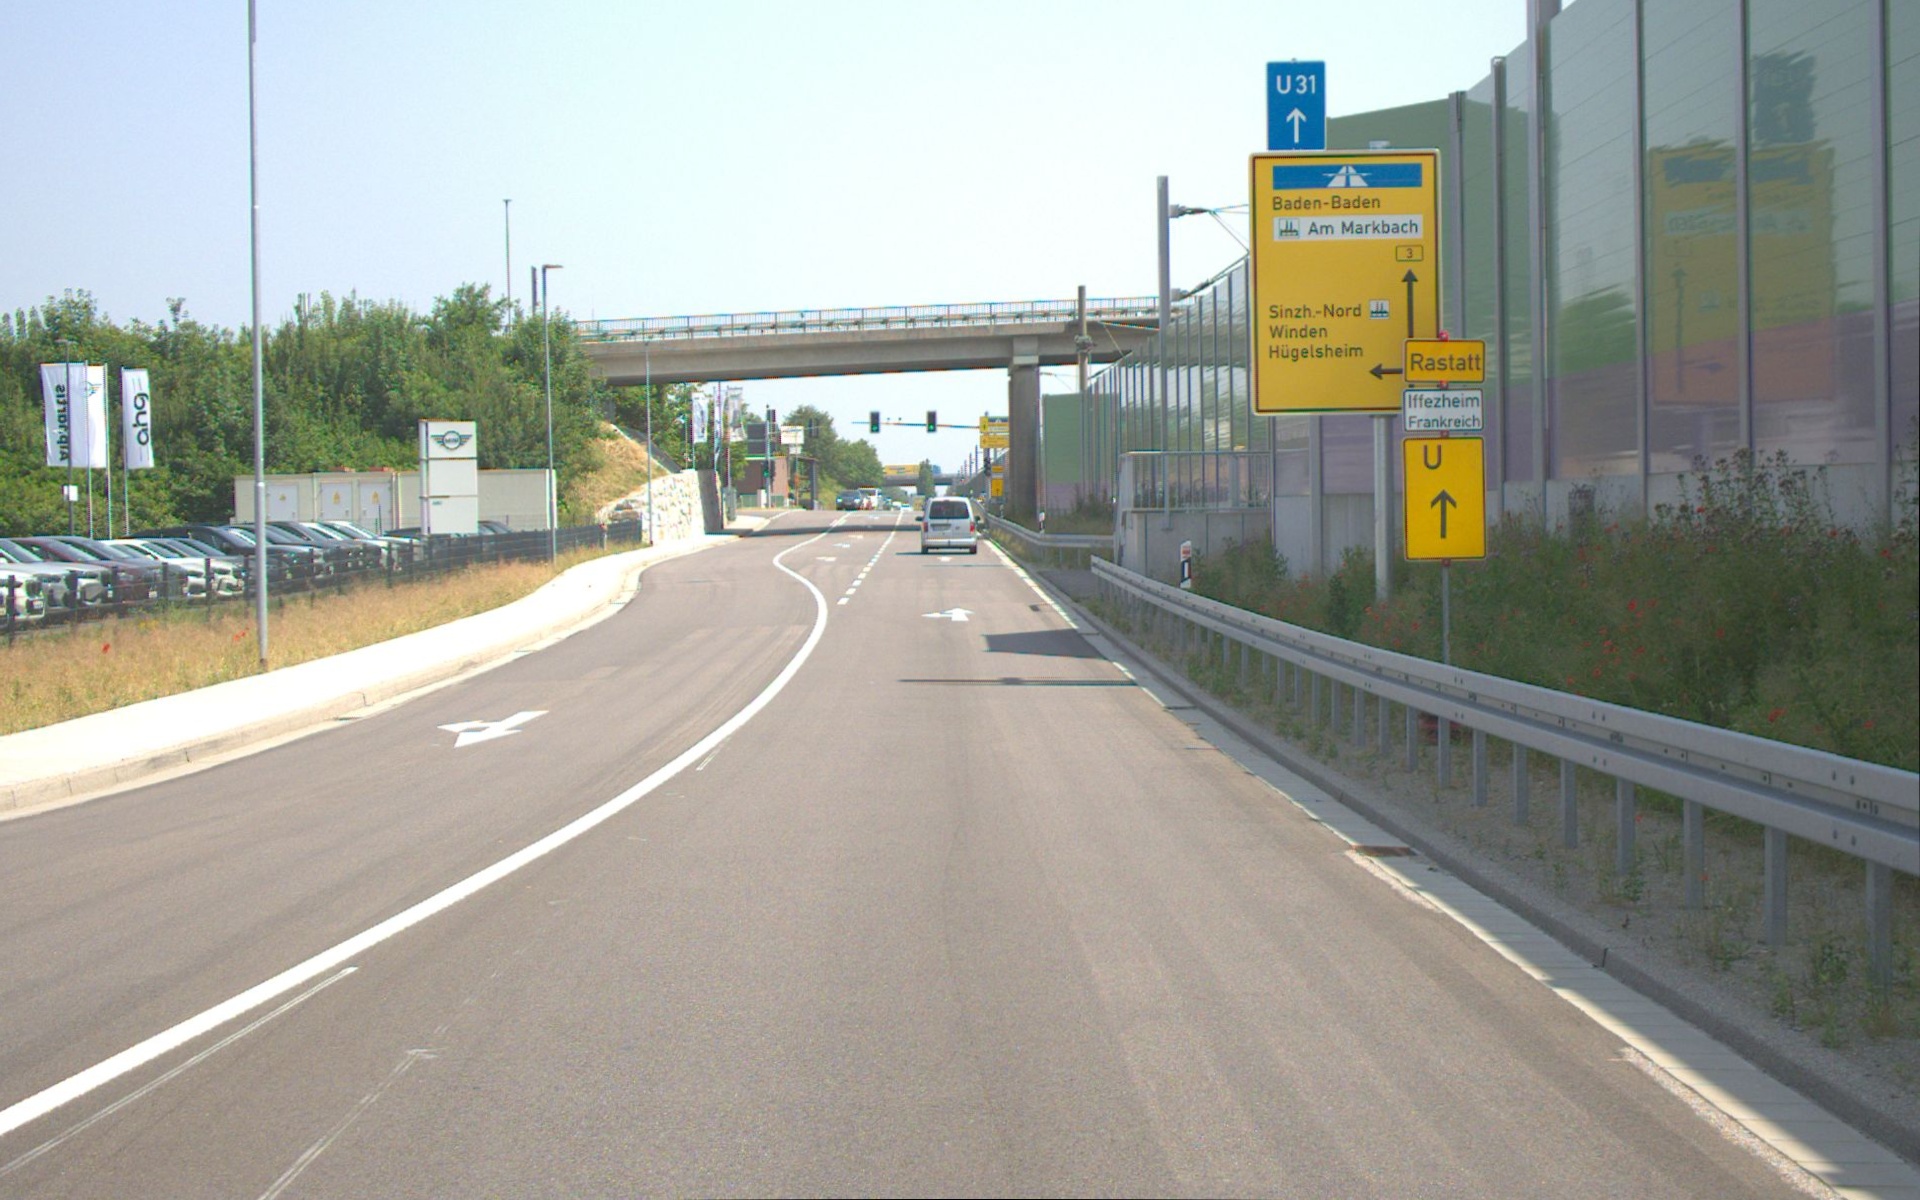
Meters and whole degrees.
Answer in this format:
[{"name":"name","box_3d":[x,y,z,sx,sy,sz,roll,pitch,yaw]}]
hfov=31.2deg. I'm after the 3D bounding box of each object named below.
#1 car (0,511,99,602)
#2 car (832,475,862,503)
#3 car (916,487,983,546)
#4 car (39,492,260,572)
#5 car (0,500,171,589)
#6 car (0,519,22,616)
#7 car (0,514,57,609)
[{"name":"car","box_3d":[-17.129,-0.726,59.096,4.164,1.461,1.816,-1,3,0]},{"name":"car","box_3d":[-7.893,-7.801,240.799,1.993,1.919,4.001,-2,2,0]},{"name":"car","box_3d":[-0.306,-2.649,108.509,1.993,1.751,4.000,-1,2,1]},{"name":"car","box_3d":[-16.991,-1.440,72.228,4.164,1.539,1.816,-1,3,0]},{"name":"car","box_3d":[-17.067,-1.034,64.237,4.164,1.539,1.816,-1,3,0]},{"name":"car","box_3d":[-16.910,-0.452,53.362,4.164,1.461,1.816,-1,3,0]},{"name":"car","box_3d":[-17.112,-0.592,56.213,4.164,1.461,1.816,-1,3,0]}]
